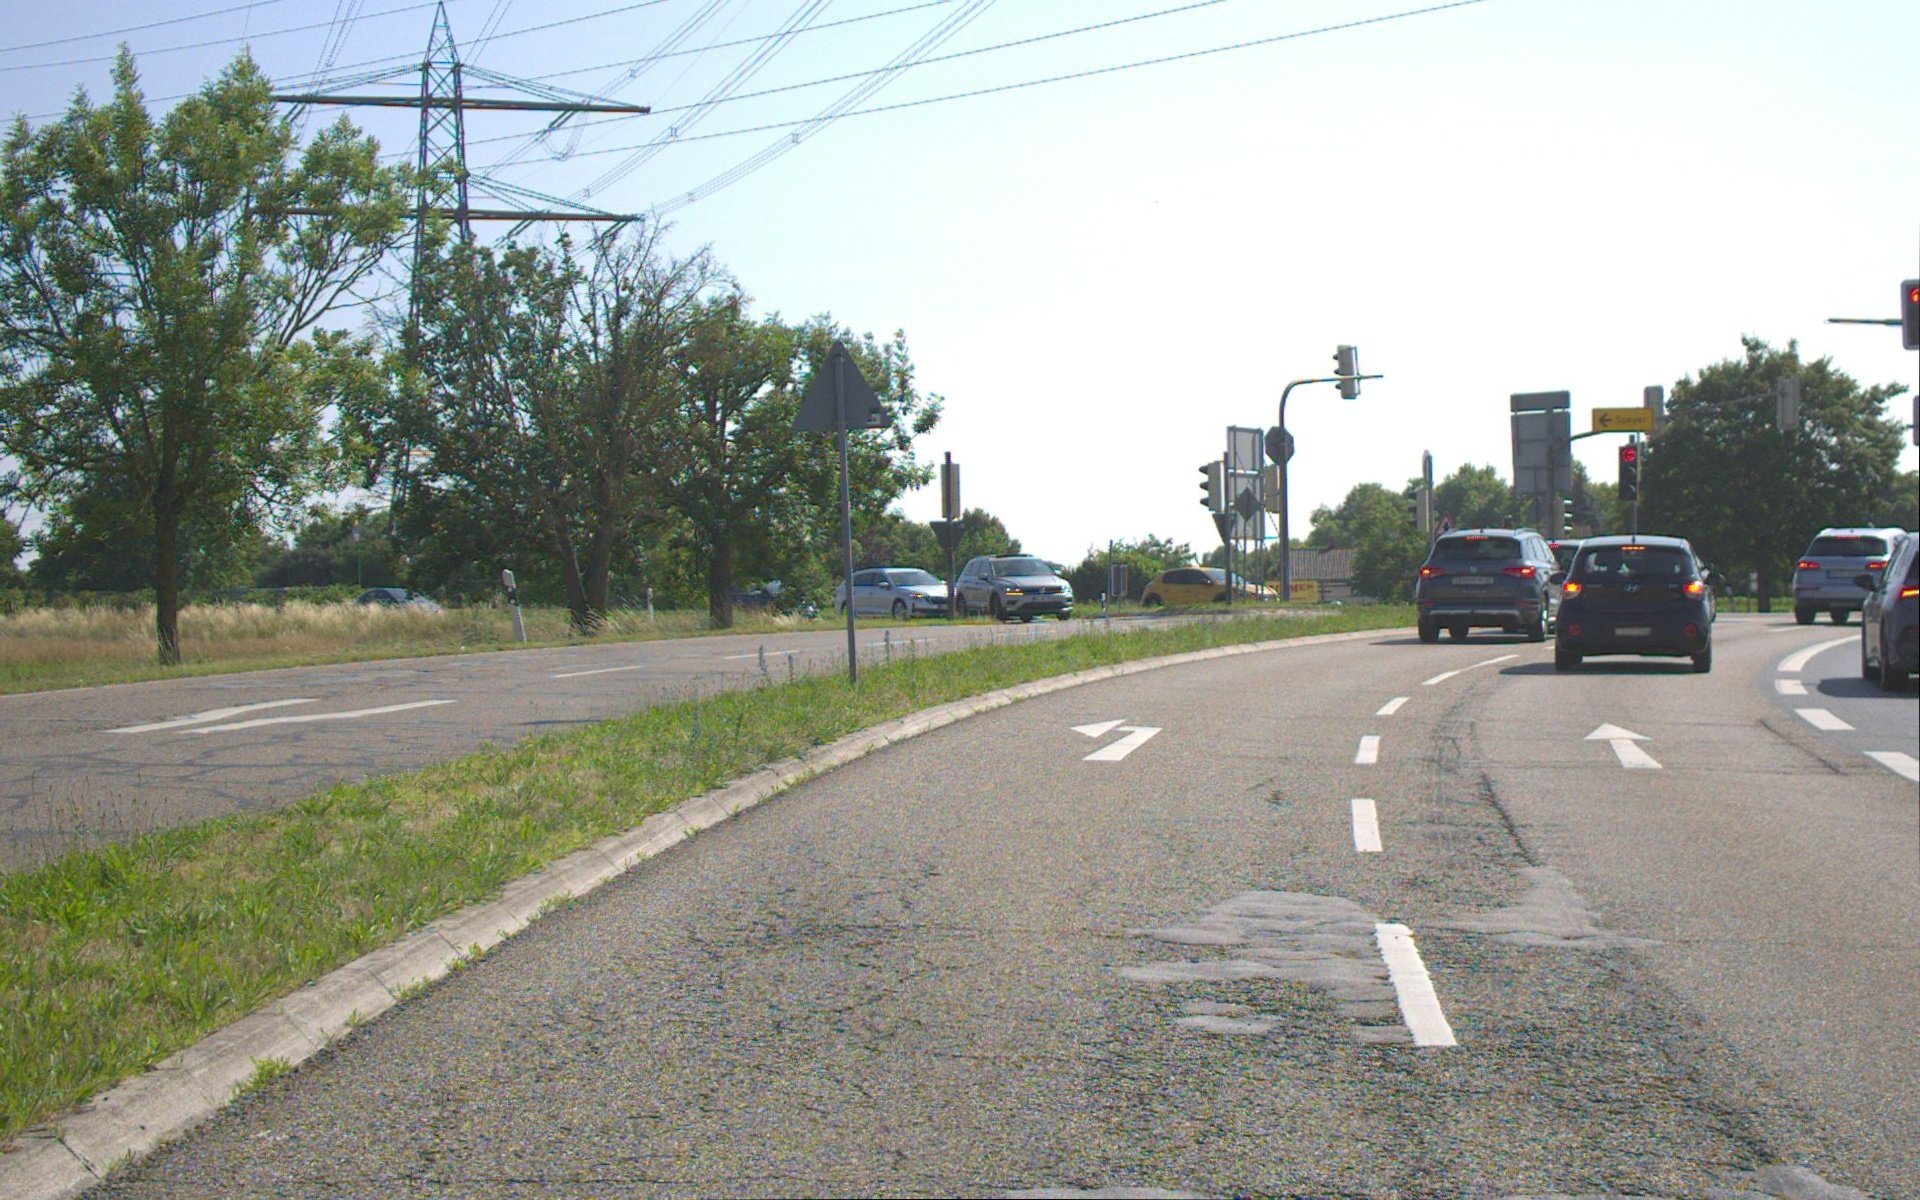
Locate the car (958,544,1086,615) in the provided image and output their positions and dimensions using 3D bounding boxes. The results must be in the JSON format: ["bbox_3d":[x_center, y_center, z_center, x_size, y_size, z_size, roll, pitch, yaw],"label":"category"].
[{"bbox_3d":[1.452,-0.488,82.397,1.814,1.645,4.001,0,0,-19],"label":"car"}]

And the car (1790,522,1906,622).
[{"bbox_3d":[15.439,-0.491,59.664,1.634,1.671,3.746,1,1,19],"label":"car"}]

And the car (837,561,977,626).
[{"bbox_3d":[-1.383,-0.157,88.600,1.814,1.645,4.000,0,0,-32],"label":"car"}]

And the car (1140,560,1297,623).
[{"bbox_3d":[6.908,-0.229,92.177,1.815,1.645,3.997,0,0,-44],"label":"car"}]

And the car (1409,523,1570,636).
[{"bbox_3d":[7.653,-0.325,49.436,1.743,1.563,3.621,0,1,18],"label":"car"}]

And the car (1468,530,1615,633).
[{"bbox_3d":[9.346,-0.292,55.055,1.743,1.563,3.621,1,1,19],"label":"car"}]

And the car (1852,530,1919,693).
[{"bbox_3d":[9.819,0.075,33.763,1.774,1.512,4.098,1,1,11],"label":"car"}]

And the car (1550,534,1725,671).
[{"bbox_3d":[7.571,0.003,38.249,1.634,1.443,3.292,1,1,16],"label":"car"}]
